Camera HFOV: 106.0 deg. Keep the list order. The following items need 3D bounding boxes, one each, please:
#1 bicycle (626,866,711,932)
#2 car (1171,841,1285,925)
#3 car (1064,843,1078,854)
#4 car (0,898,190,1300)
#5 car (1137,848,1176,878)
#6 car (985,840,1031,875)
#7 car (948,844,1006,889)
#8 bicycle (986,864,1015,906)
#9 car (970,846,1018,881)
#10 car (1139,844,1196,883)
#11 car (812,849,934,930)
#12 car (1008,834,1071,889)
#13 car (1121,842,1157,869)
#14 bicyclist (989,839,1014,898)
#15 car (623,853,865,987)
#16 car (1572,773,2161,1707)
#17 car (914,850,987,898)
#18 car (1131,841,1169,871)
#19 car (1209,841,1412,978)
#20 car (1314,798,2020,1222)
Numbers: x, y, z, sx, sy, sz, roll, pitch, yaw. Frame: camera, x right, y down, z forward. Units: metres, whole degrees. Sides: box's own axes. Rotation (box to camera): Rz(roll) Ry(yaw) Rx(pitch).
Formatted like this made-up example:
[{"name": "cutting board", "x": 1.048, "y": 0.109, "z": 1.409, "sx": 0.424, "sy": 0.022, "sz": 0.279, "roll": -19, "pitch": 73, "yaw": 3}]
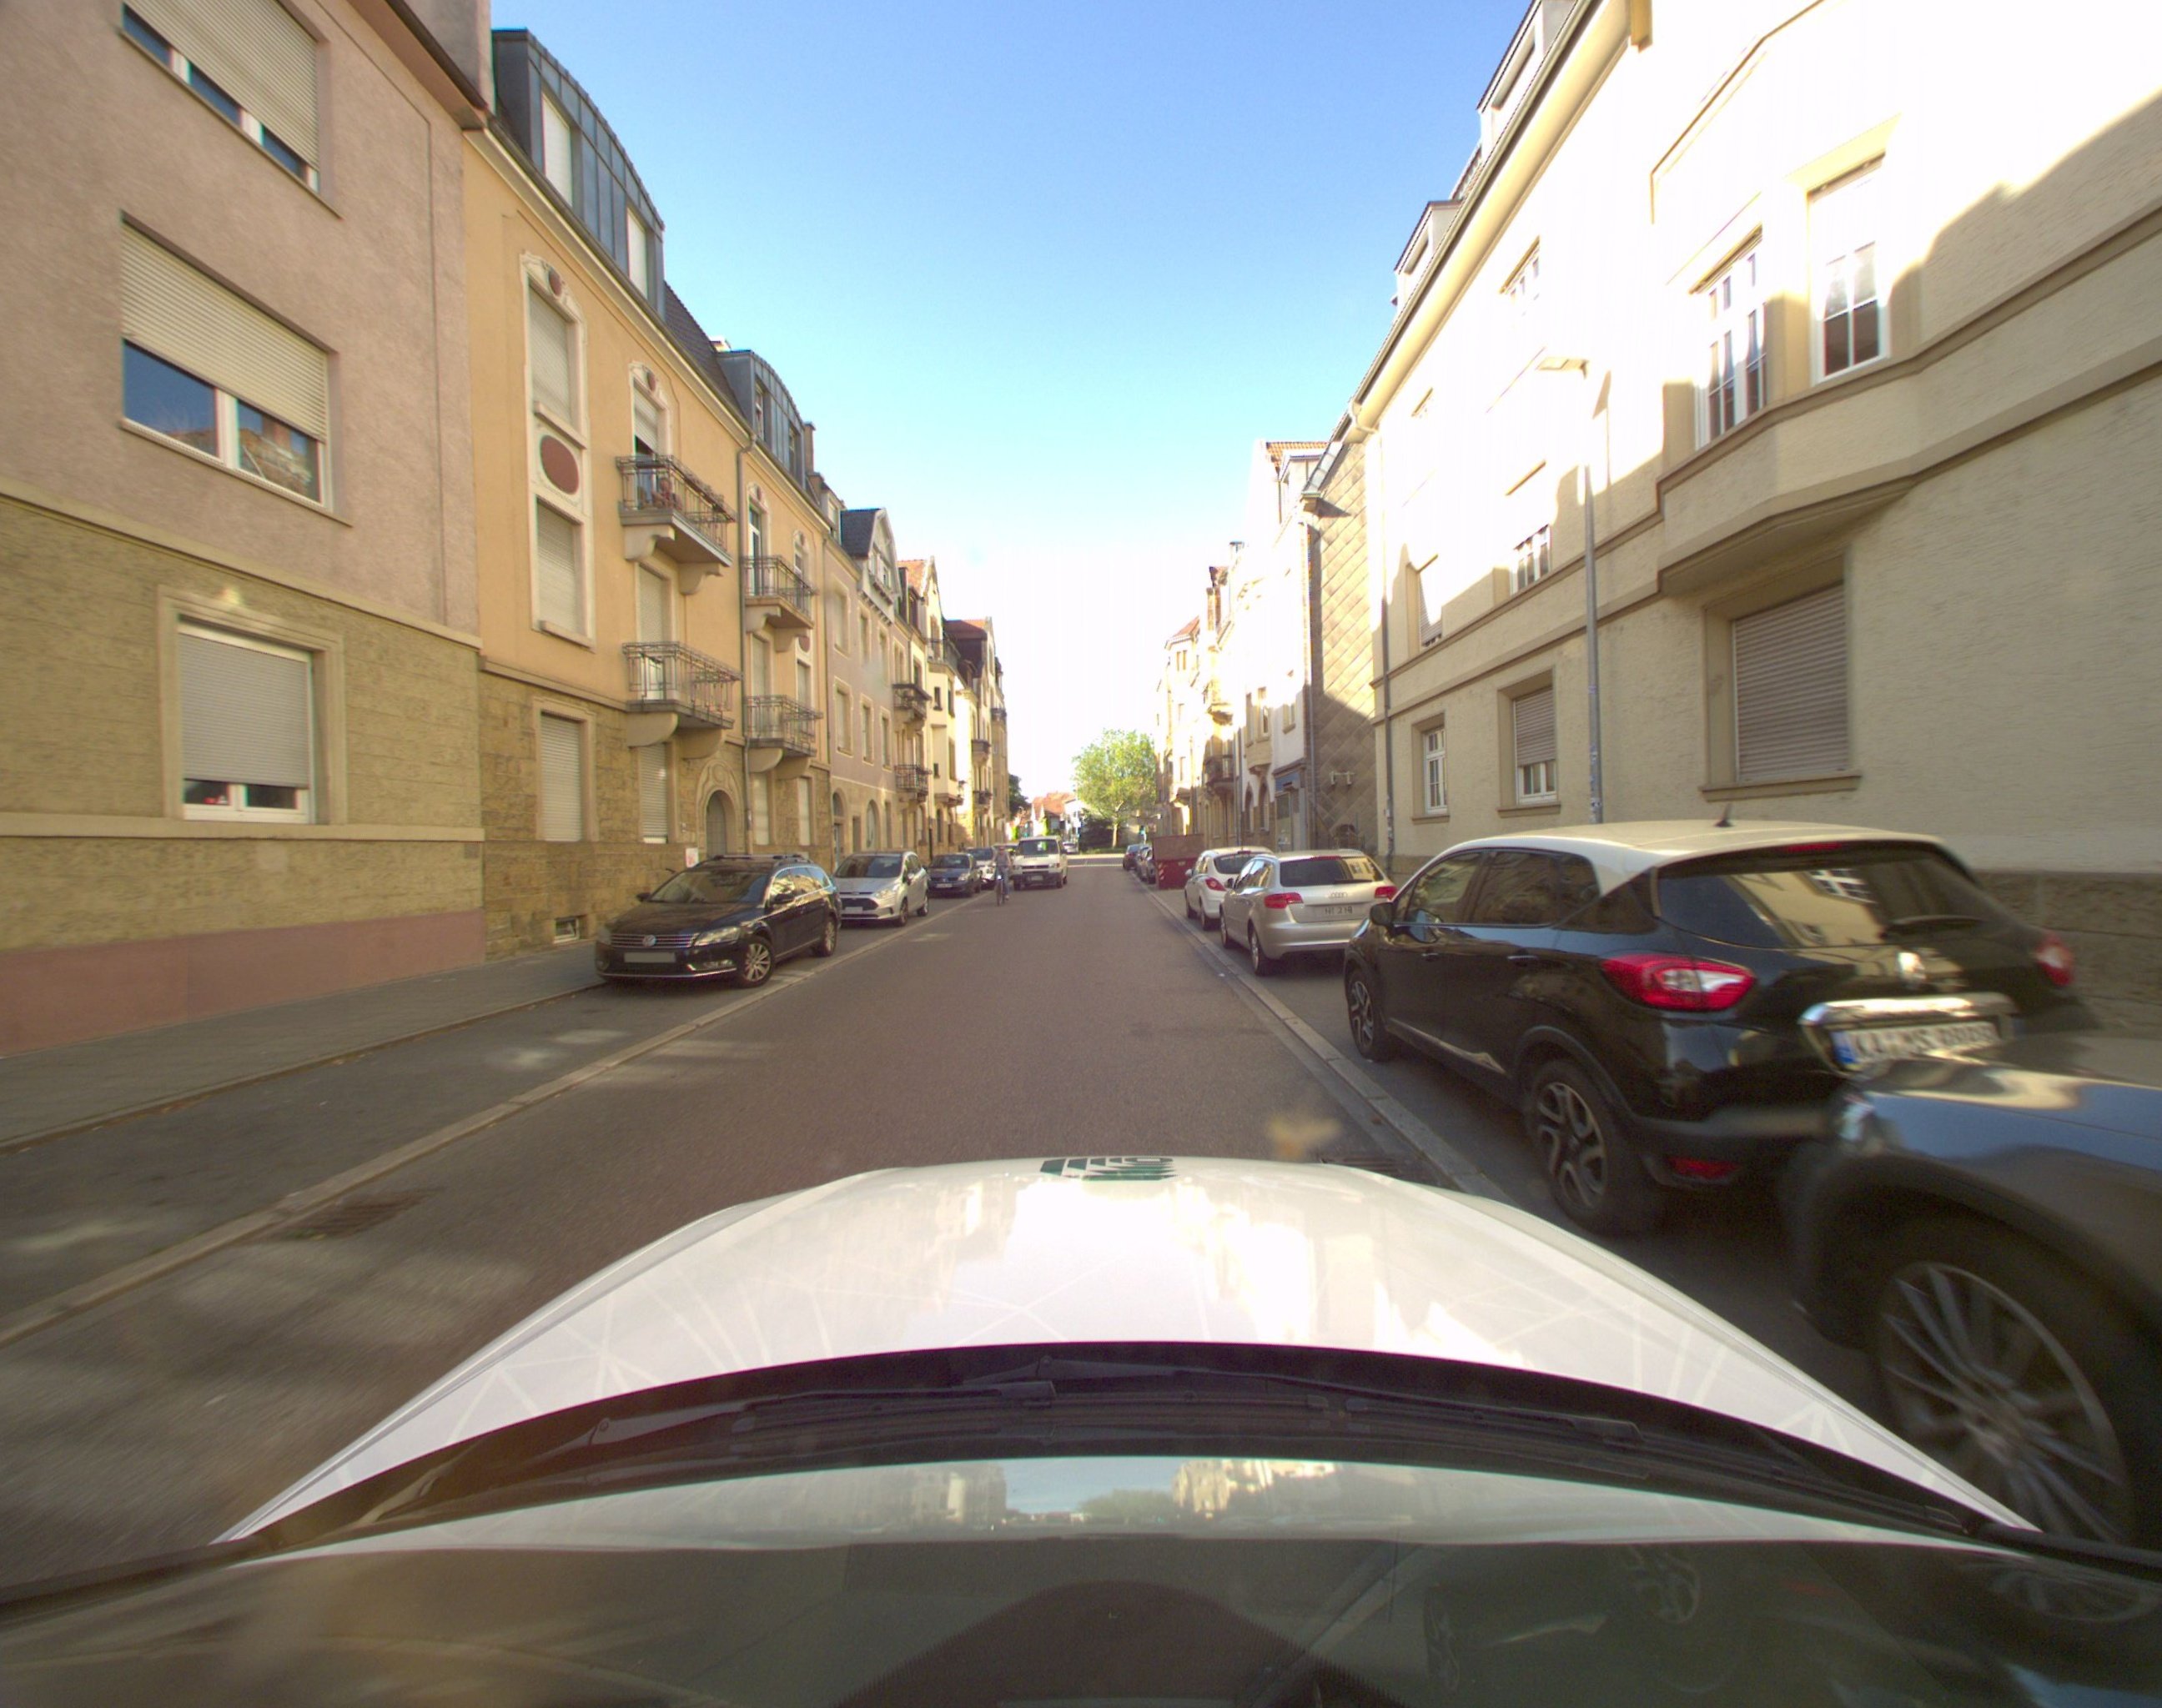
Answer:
[{"name": "bicycle", "x": -7.841, "y": 0.818, "z": 15.573, "sx": 0.662, "sy": 1.160, "sz": 1.846, "roll": -1, "pitch": 0, "yaw": 1}, {"name": "car", "x": 2.857, "y": 0.496, "z": 16.503, "sx": 1.581, "sy": 1.464, "sz": 3.711, "roll": -2, "pitch": 1, "yaw": 0}, {"name": "car", "x": -1.277, "y": -0.704, "z": 105.094, "sx": 1.669, "sy": 1.482, "sz": 3.521, "roll": -1, "pitch": 0, "yaw": -1}, {"name": "car", "x": -4.783, "y": 0.913, "z": 1.600, "sx": 1.708, "sy": 1.386, "sz": 3.867, "roll": 2, "pitch": 1, "yaw": 2}, {"name": "car", "x": 3.464, "y": 0.378, "z": 37.920, "sx": 1.685, "sy": 1.254, "sz": 3.945, "roll": -1, "pitch": 1, "yaw": 4}, {"name": "car", "x": -3.895, "y": 0.128, "z": 44.124, "sx": 1.885, "sy": 1.722, "sz": 4.728, "roll": 2, "pitch": 1, "yaw": 2}, {"name": "car", "x": -3.988, "y": 0.428, "z": 31.767, "sx": 1.709, "sy": 1.583, "sz": 4.020, "roll": 2, "pitch": 1, "yaw": -1}, {"name": "bicycle", "x": -2.273, "y": 0.856, "z": 23.133, "sx": 0.538, "sy": 1.076, "sz": 1.801, "roll": -1, "pitch": 1, "yaw": 3}, {"name": "car", "x": -3.906, "y": 0.395, "z": 37.198, "sx": 1.567, "sy": 1.487, "sz": 4.282, "roll": 0, "pitch": 1, "yaw": 2}, {"name": "car", "x": 3.462, "y": 0.355, "z": 33.146, "sx": 1.781, "sy": 1.429, "sz": 3.805, "roll": -2, "pitch": 1, "yaw": -2}, {"name": "car", "x": -4.462, "y": 0.691, "z": 17.996, "sx": 1.709, "sy": 1.538, "sz": 3.723, "roll": -1, "pitch": 1, "yaw": 0}, {"name": "car", "x": -1.513, "y": 0.247, "z": 31.549, "sx": 1.855, "sy": 1.937, "sz": 4.604, "roll": -1, "pitch": 1, "yaw": 3}, {"name": "car", "x": 3.369, "y": 0.041, "z": 48.290, "sx": 1.859, "sy": 1.462, "sz": 4.340, "roll": -1, "pitch": 1, "yaw": 1}, {"name": "bicyclist", "x": -2.265, "y": 0.399, "z": 23.296, "sx": 0.605, "sy": 1.665, "sz": 0.632, "roll": -1, "pitch": 1, "yaw": 2}, {"name": "car", "x": -4.613, "y": 0.794, "z": 11.890, "sx": 1.709, "sy": 1.521, "sz": 4.110, "roll": -2, "pitch": 1, "yaw": 1}, {"name": "car", "x": 2.507, "y": 0.696, "z": 0.610, "sx": 1.779, "sy": 1.664, "sz": 4.438, "roll": -1, "pitch": 1, "yaw": 3}, {"name": "car", "x": -4.257, "y": 0.615, "z": 27.115, "sx": 1.666, "sy": 1.393, "sz": 3.668, "roll": 2, "pitch": 1, "yaw": 2}, {"name": "car", "x": 3.646, "y": 0.068, "z": 43.419, "sx": 1.645, "sy": 1.442, "sz": 4.259, "roll": -2, "pitch": 1, "yaw": 1}, {"name": "car", "x": 2.878, "y": 0.588, "z": 11.113, "sx": 1.647, "sy": 1.464, "sz": 4.095, "roll": -2, "pitch": 1, "yaw": 1}, {"name": "car", "x": 2.768, "y": 0.569, "z": 5.040, "sx": 1.673, "sy": 1.546, "sz": 3.918, "roll": -3, "pitch": 1, "yaw": 3}]
